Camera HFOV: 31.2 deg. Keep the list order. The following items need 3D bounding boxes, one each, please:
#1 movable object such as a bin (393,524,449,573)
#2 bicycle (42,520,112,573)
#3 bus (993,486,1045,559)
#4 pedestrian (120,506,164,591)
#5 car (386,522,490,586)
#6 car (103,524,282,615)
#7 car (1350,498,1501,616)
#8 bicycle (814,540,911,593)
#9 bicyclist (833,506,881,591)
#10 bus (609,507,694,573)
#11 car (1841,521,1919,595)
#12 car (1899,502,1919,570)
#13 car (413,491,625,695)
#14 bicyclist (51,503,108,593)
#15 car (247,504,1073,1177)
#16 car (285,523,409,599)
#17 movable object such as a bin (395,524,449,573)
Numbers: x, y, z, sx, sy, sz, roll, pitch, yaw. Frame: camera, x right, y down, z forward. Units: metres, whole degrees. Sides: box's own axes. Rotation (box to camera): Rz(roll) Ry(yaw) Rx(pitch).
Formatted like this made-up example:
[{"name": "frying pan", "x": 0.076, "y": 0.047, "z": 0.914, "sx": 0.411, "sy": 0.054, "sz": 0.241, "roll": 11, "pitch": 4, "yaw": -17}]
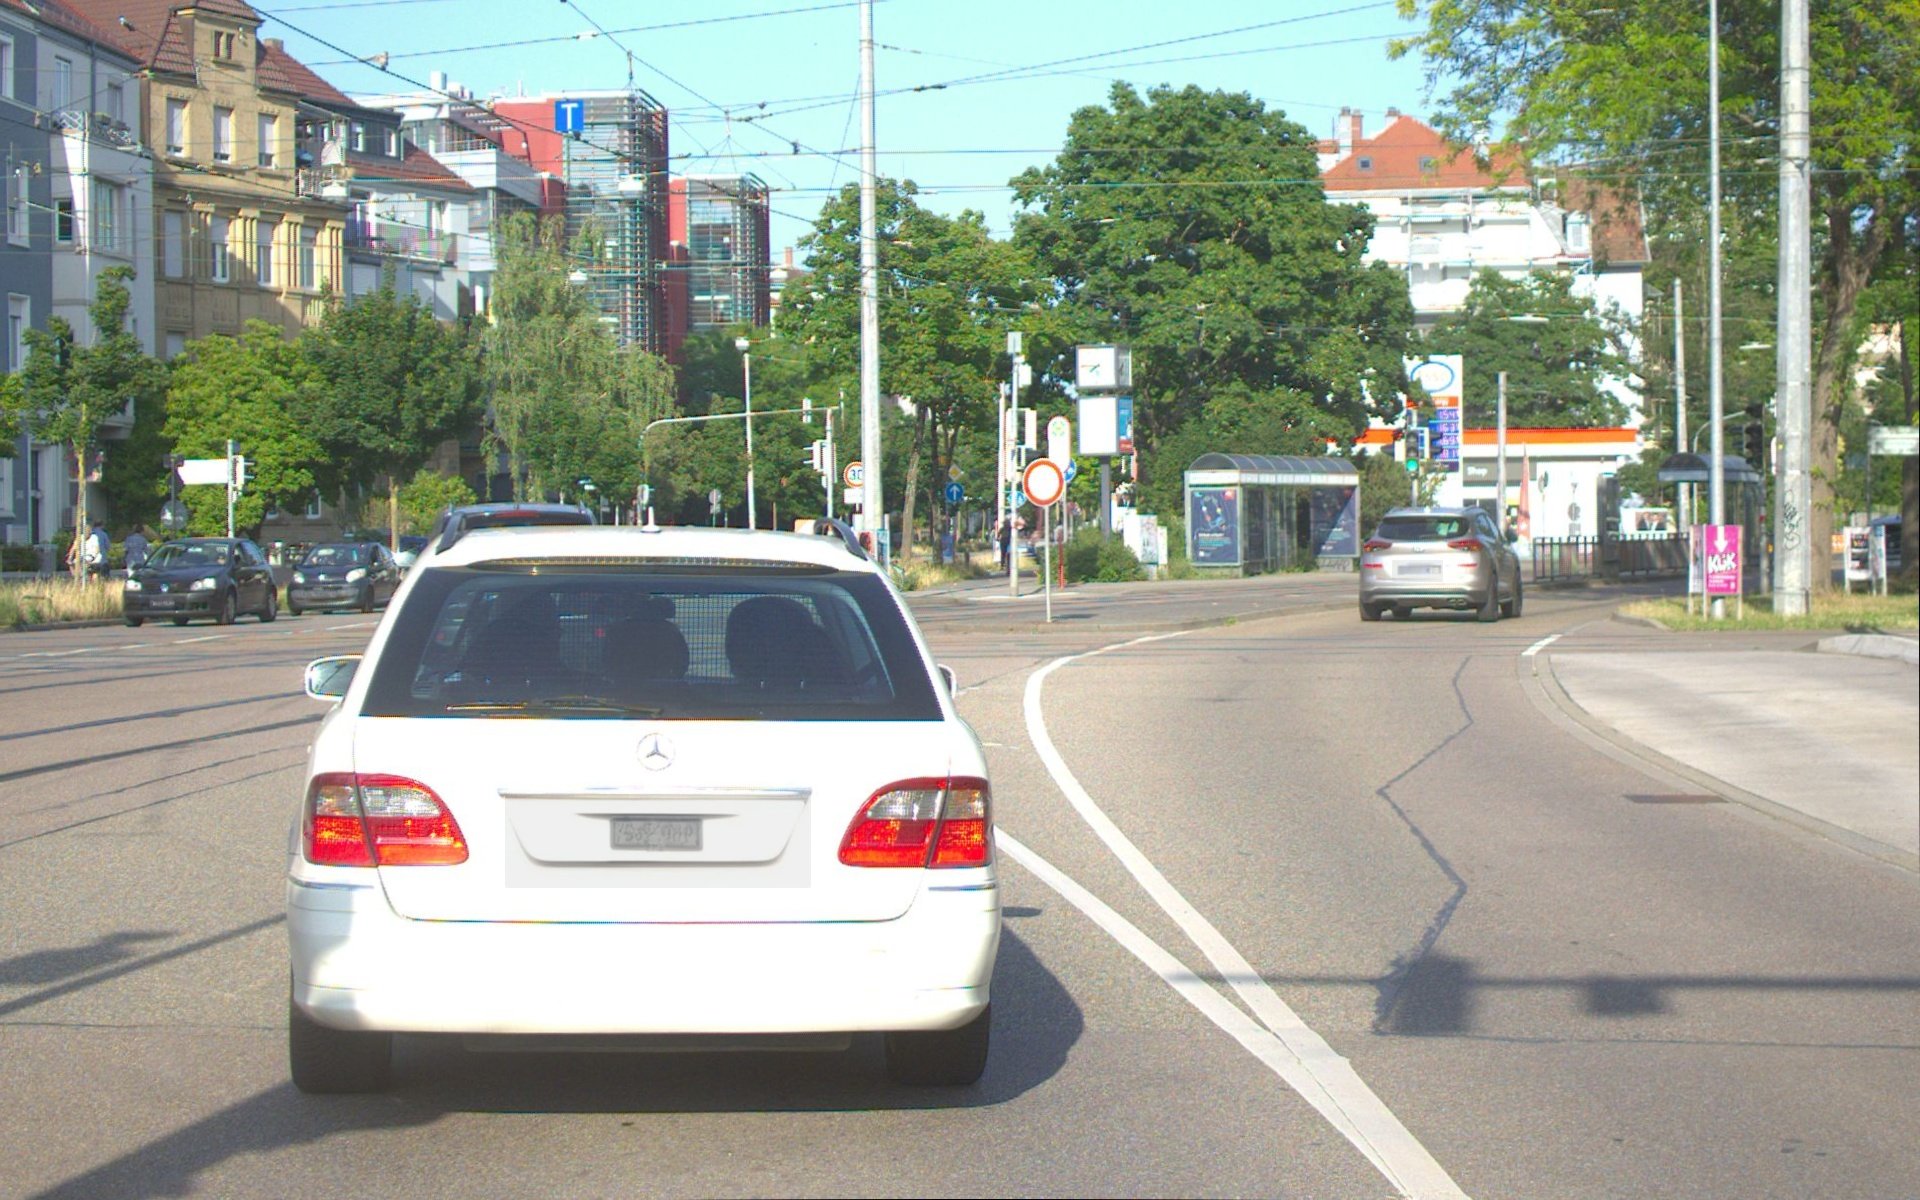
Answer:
[{"name": "movable object such as a bin", "x": -15.868, "y": -1.521, "z": 101.265, "sx": 1.602, "sy": 1.416, "sz": 1.085, "roll": -1, "pitch": 1, "yaw": -8}, {"name": "bicycle", "x": -16.581, "y": -1.009, "z": 64.578, "sx": 0.769, "sy": 0.962, "sz": 2.034, "roll": -1, "pitch": 1, "yaw": 0}, {"name": "bus", "x": 2.135, "y": -2.793, "z": 125.467, "sx": 1.798, "sy": 2.546, "sz": 4.000, "roll": 2, "pitch": 0, "yaw": 1}, {"name": "pedestrian", "x": -16.937, "y": -1.063, "z": 71.227, "sx": 0.638, "sy": 1.745, "sz": 0.911, "roll": -1, "pitch": 1, "yaw": 2}, {"name": "car", "x": -12.446, "y": -1.121, "z": 82.182, "sx": 1.689, "sy": 1.436, "sz": 4.000, "roll": -1, "pitch": 2, "yaw": 3}, {"name": "car", "x": -12.690, "y": -0.534, "z": 57.030, "sx": 1.767, "sy": 1.428, "sz": 4.000, "roll": 0, "pitch": 1, "yaw": 5}, {"name": "car", "x": 6.696, "y": -0.624, "z": 49.181, "sx": 1.836, "sy": 1.594, "sz": 3.813, "roll": 1, "pitch": 1, "yaw": 12}, {"name": "bicycle", "x": -1.969, "y": -0.687, "z": 69.777, "sx": 1.913, "sy": 0.991, "sz": 0.727, "roll": -2, "pitch": 1, "yaw": -1}, {"name": "bicyclist", "x": -2.091, "y": -1.043, "z": 69.769, "sx": 0.899, "sy": 1.693, "sz": 0.732, "roll": -2, "pitch": 1, "yaw": -1}, {"name": "bus", "x": -7.851, "y": -1.552, "z": 87.753, "sx": 1.844, "sy": 1.630, "sz": 4.160, "roll": -1, "pitch": 1, "yaw": -1}, {"name": "car", "x": 20.348, "y": -0.923, "z": 73.706, "sx": 1.856, "sy": 1.510, "sz": 3.994, "roll": -1, "pitch": 1, "yaw": 29}, {"name": "car", "x": 22.883, "y": -1.494, "z": 78.611, "sx": 1.856, "sy": 1.510, "sz": 3.994, "roll": -1, "pitch": 1, "yaw": 28}, {"name": "car", "x": -3.734, "y": -0.095, "z": 29.201, "sx": 1.641, "sy": 1.594, "sz": 3.816, "roll": 1, "pitch": 1, "yaw": -7}, {"name": "bicyclist", "x": -16.589, "y": -0.988, "z": 64.805, "sx": 0.760, "sy": 1.662, "sz": 1.167, "roll": -1, "pitch": 1, "yaw": 0}, {"name": "car", "x": -0.939, "y": 0.507, "z": 9.651, "sx": 1.835, "sy": 1.496, "sz": 3.816, "roll": 1, "pitch": 1, "yaw": -8}, {"name": "car", "x": -12.111, "y": -0.795, "z": 68.060, "sx": 1.634, "sy": 1.428, "sz": 3.628, "roll": -1, "pitch": 1, "yaw": 3}, {"name": "movable object such as a bin", "x": -16.050, "y": -1.541, "z": 102.610, "sx": 1.533, "sy": 1.416, "sz": 1.085, "roll": -1, "pitch": 1, "yaw": -8}]
